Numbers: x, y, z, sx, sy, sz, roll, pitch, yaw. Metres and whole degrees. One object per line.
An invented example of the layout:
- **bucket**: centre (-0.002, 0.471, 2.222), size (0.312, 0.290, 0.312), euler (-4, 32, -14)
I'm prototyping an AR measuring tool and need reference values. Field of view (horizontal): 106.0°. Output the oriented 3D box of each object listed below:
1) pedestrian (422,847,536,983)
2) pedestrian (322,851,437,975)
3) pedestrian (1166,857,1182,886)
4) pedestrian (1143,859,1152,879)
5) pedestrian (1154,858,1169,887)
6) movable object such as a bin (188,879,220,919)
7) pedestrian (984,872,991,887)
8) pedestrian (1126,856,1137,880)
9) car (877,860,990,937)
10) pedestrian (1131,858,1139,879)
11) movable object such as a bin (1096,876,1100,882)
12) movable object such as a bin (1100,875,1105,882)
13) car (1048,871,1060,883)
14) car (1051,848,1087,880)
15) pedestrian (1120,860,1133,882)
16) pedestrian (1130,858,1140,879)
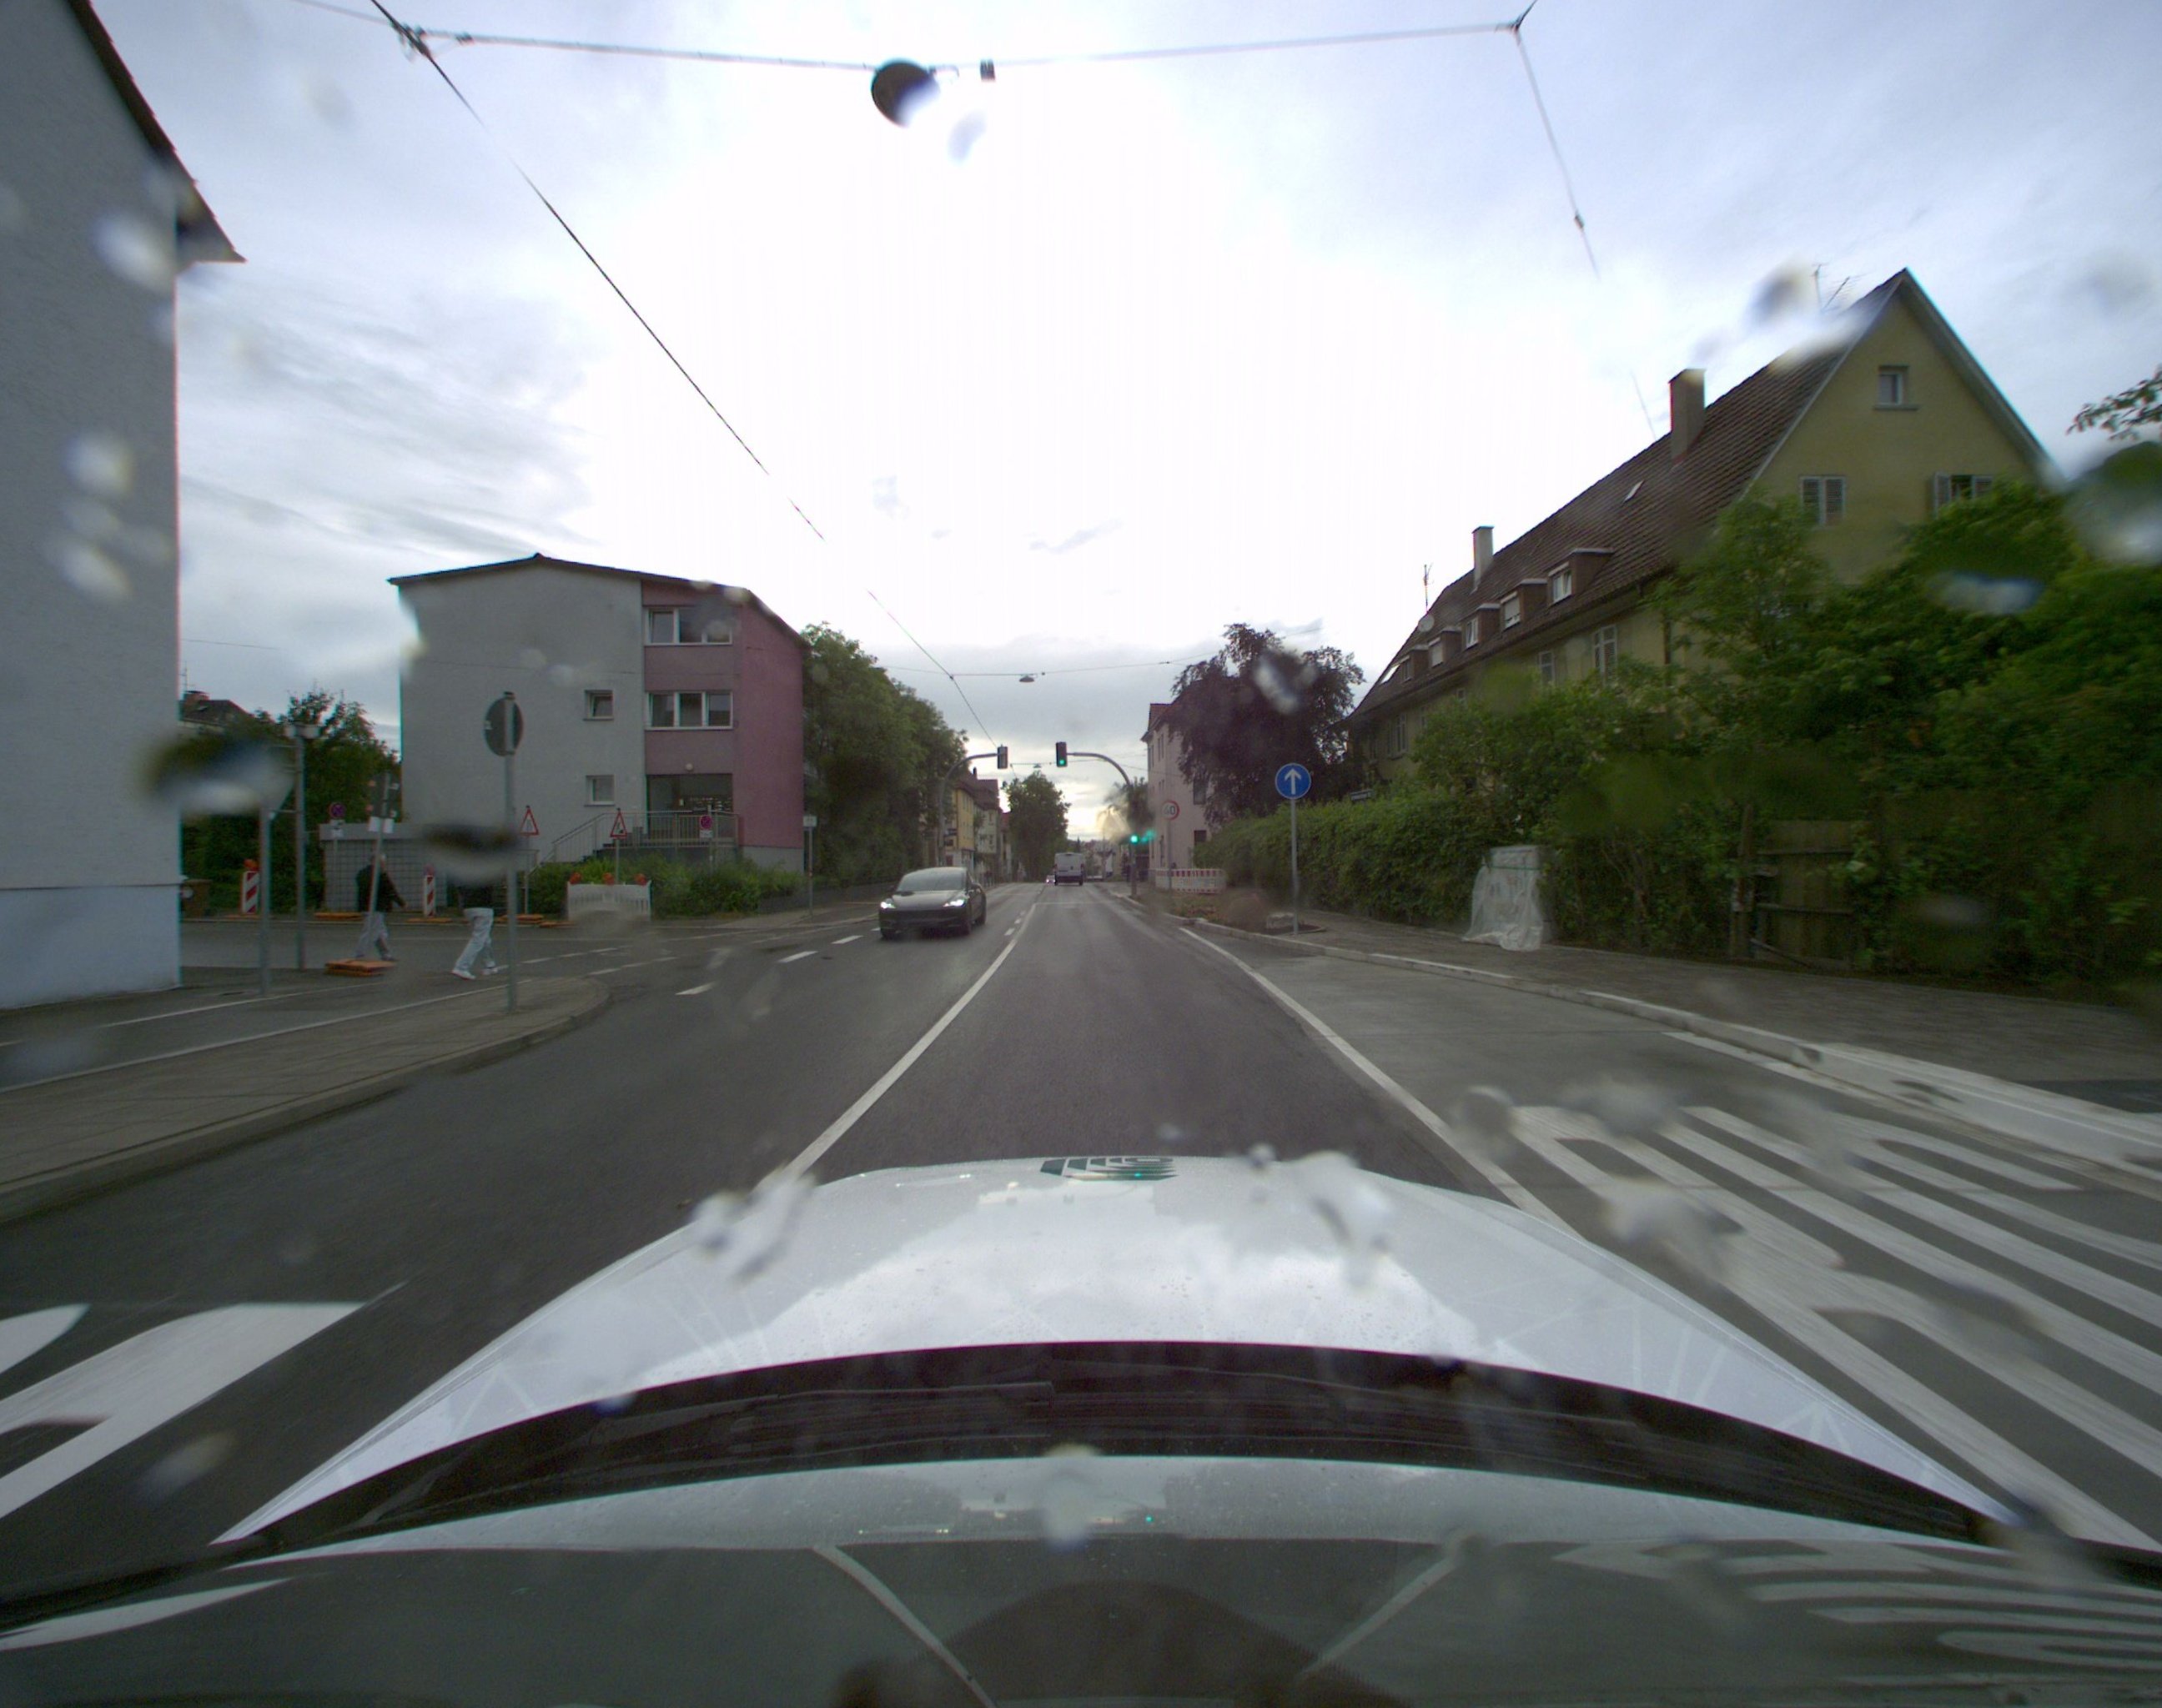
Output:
- **pedestrian**: centre (-8.770, 0.851, 11.910), size (0.860, 1.882, 1.043), euler (-2, 0, -3)
- **pedestrian**: centre (-10.860, 0.875, 12.655), size (0.803, 1.821, 1.115), euler (0, 0, -2)
- **pedestrian**: centre (5.089, 0.944, 44.460), size (0.870, 1.561, 1.051), euler (0, -2, 6)
- **pedestrian**: centre (6.219, 1.386, 75.665), size (0.642, 1.831, 0.744), euler (-3, -2, 12)
- **pedestrian**: centre (4.532, 1.047, 45.856), size (0.780, 1.642, 1.223), euler (0, -2, 3)
- **movable object such as a bin**: centre (-22.006, 1.122, 20.432), size (0.327, 0.979, 0.432), euler (-1, 0, -6)
- **pedestrian**: centre (-10.935, 2.996, 95.144), size (0.813, 1.679, 0.991), euler (0, -3, -4)
- **pedestrian**: centre (4.130, 1.135, 66.424), size (0.482, 1.875, 0.636), euler (-5, -2, 30)
- **car**: centre (-3.171, 0.904, 18.340), size (1.778, 1.452, 4.387), euler (-1, 0, -1)
- **pedestrian**: centre (4.462, 1.191, 67.149), size (0.443, 1.708, 0.560), euler (-4, -1, 17)
- **movable object such as a bin**: centre (2.701, 4.020, 130.659), size (0.617, 0.936, 0.685), euler (-4, -2, -1)
- **movable object such as a bin**: centre (3.478, 3.921, 130.849), size (0.693, 1.082, 0.778), euler (-4, -2, -1)
- **car**: centre (-4.455, 3.769, 134.195), size (1.876, 1.870, 4.450), euler (-2, -2, -1)
- **car**: centre (-0.949, 0.735, 58.687), size (2.342, 2.160, 4.771), euler (-1, -1, -4)
- **pedestrian**: centre (3.665, 1.344, 65.896), size (0.639, 1.710, 0.741), euler (-3, -2, -35)
- **pedestrian**: centre (4.617, 1.275, 70.026), size (0.659, 1.741, 0.827), euler (-2, -2, -7)
